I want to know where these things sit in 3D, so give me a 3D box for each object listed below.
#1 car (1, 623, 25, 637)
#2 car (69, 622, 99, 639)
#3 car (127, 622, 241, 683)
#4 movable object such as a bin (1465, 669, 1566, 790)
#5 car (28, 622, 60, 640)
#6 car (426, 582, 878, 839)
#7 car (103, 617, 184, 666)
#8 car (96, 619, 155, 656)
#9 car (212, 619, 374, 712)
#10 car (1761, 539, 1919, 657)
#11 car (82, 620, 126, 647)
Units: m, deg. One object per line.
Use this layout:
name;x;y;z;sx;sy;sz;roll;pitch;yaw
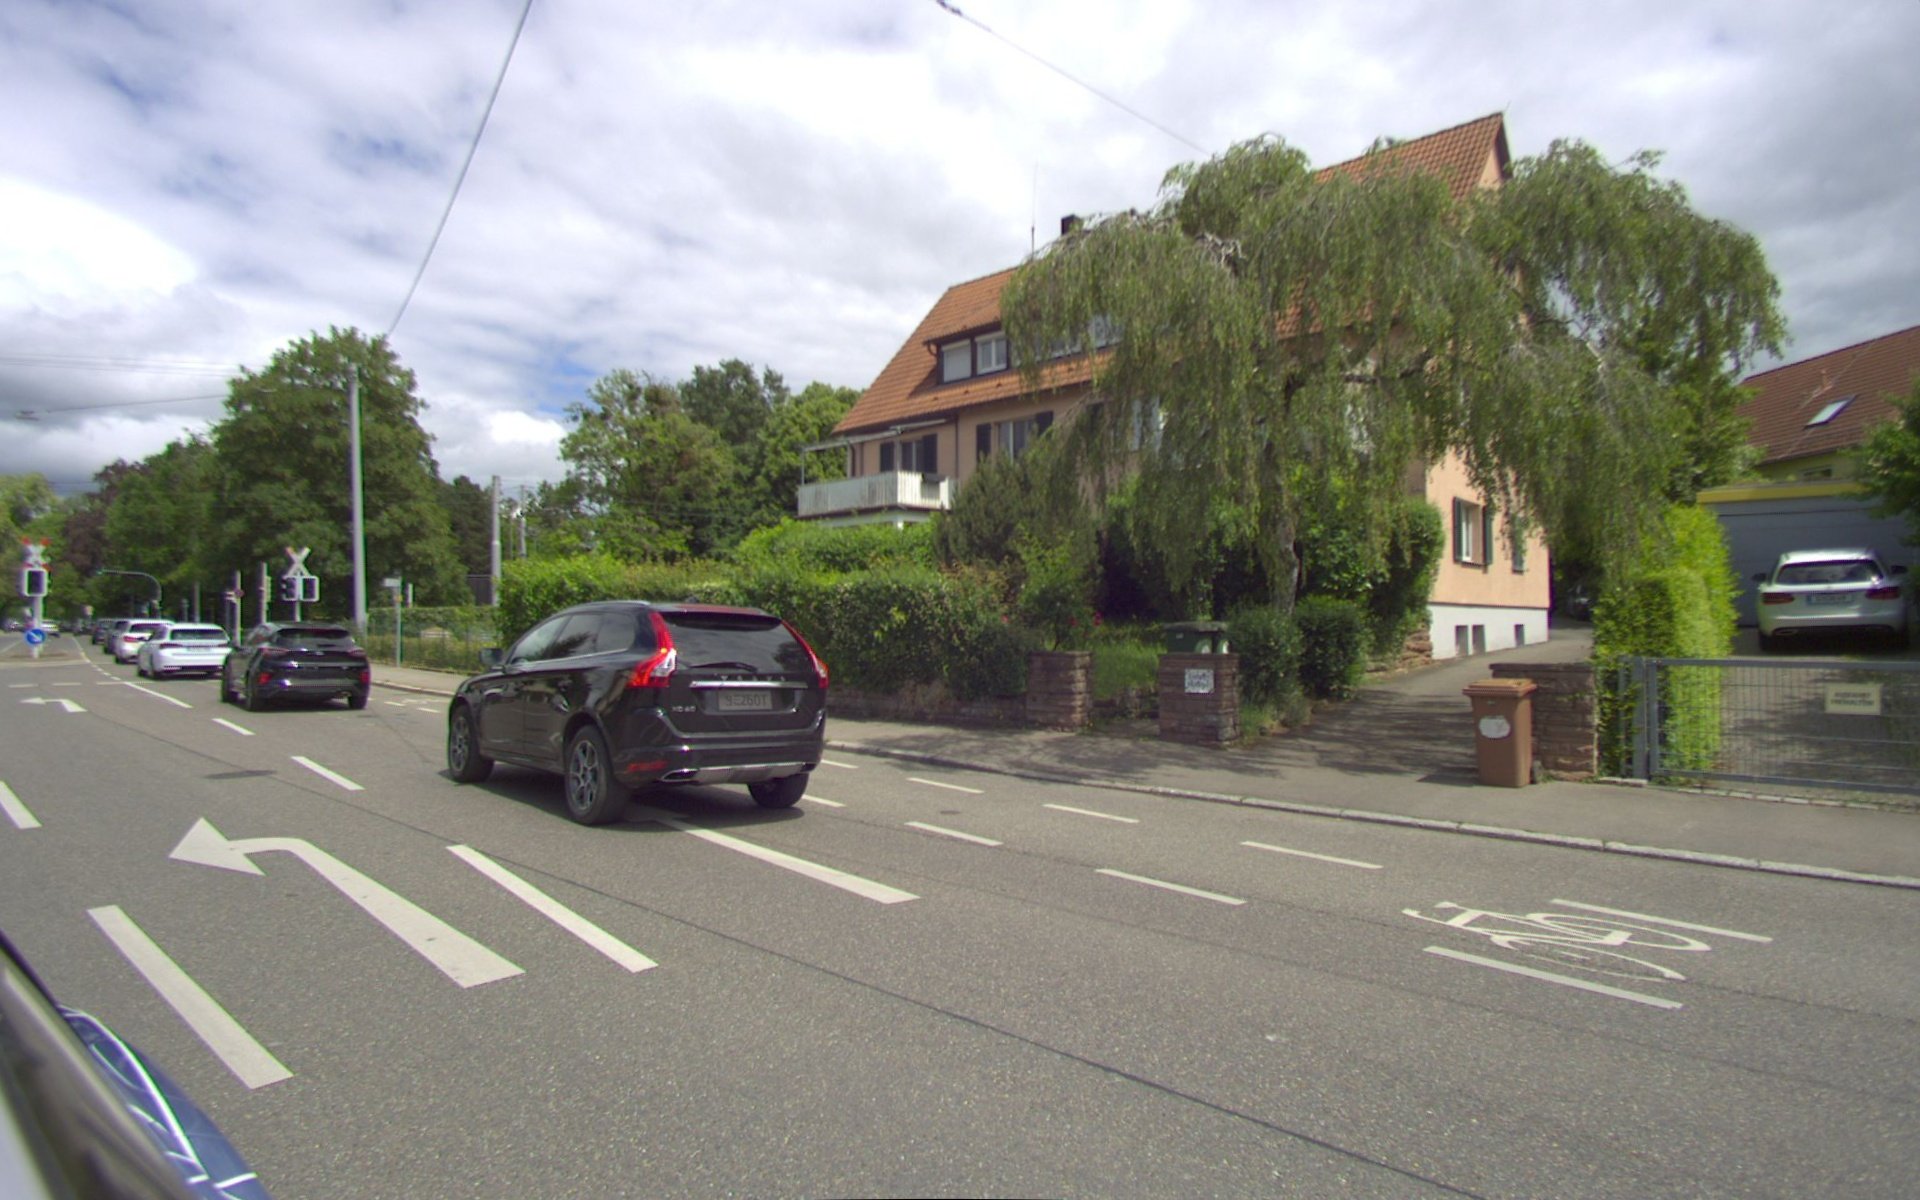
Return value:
car;-104.040;3.307;111.205;1.905;1.431;4.004;-1;0;-43
car;-79.154;2.713;91.464;1.905;1.431;4.004;-1;0;-43
car;-20.817;1.343;27.077;1.854;1.487;4.445;2;-3;-45
movable object such as a bin;4.905;1.117;8.931;0.645;0.952;0.669;-1;0;41
car;-75.772;2.527;83.696;1.905;1.431;4.004;-1;0;-43
car;-2.851;0.829;8.768;1.894;1.661;4.296;7;-6;-44
car;-28.817;1.416;35.691;1.826;1.587;4.162;0;-1;-45
car;-39.147;1.711;47.420;1.776;1.604;4.002;-1;0;-45
car;-12.059;1.105;18.188;1.677;1.467;4.119;3;-3;-44
car;13.671;-0.104;15.846;1.725;1.563;3.949;-1;3;38
car;-52.734;2.042;62.303;1.760;1.597;4.002;1;-2;-45
